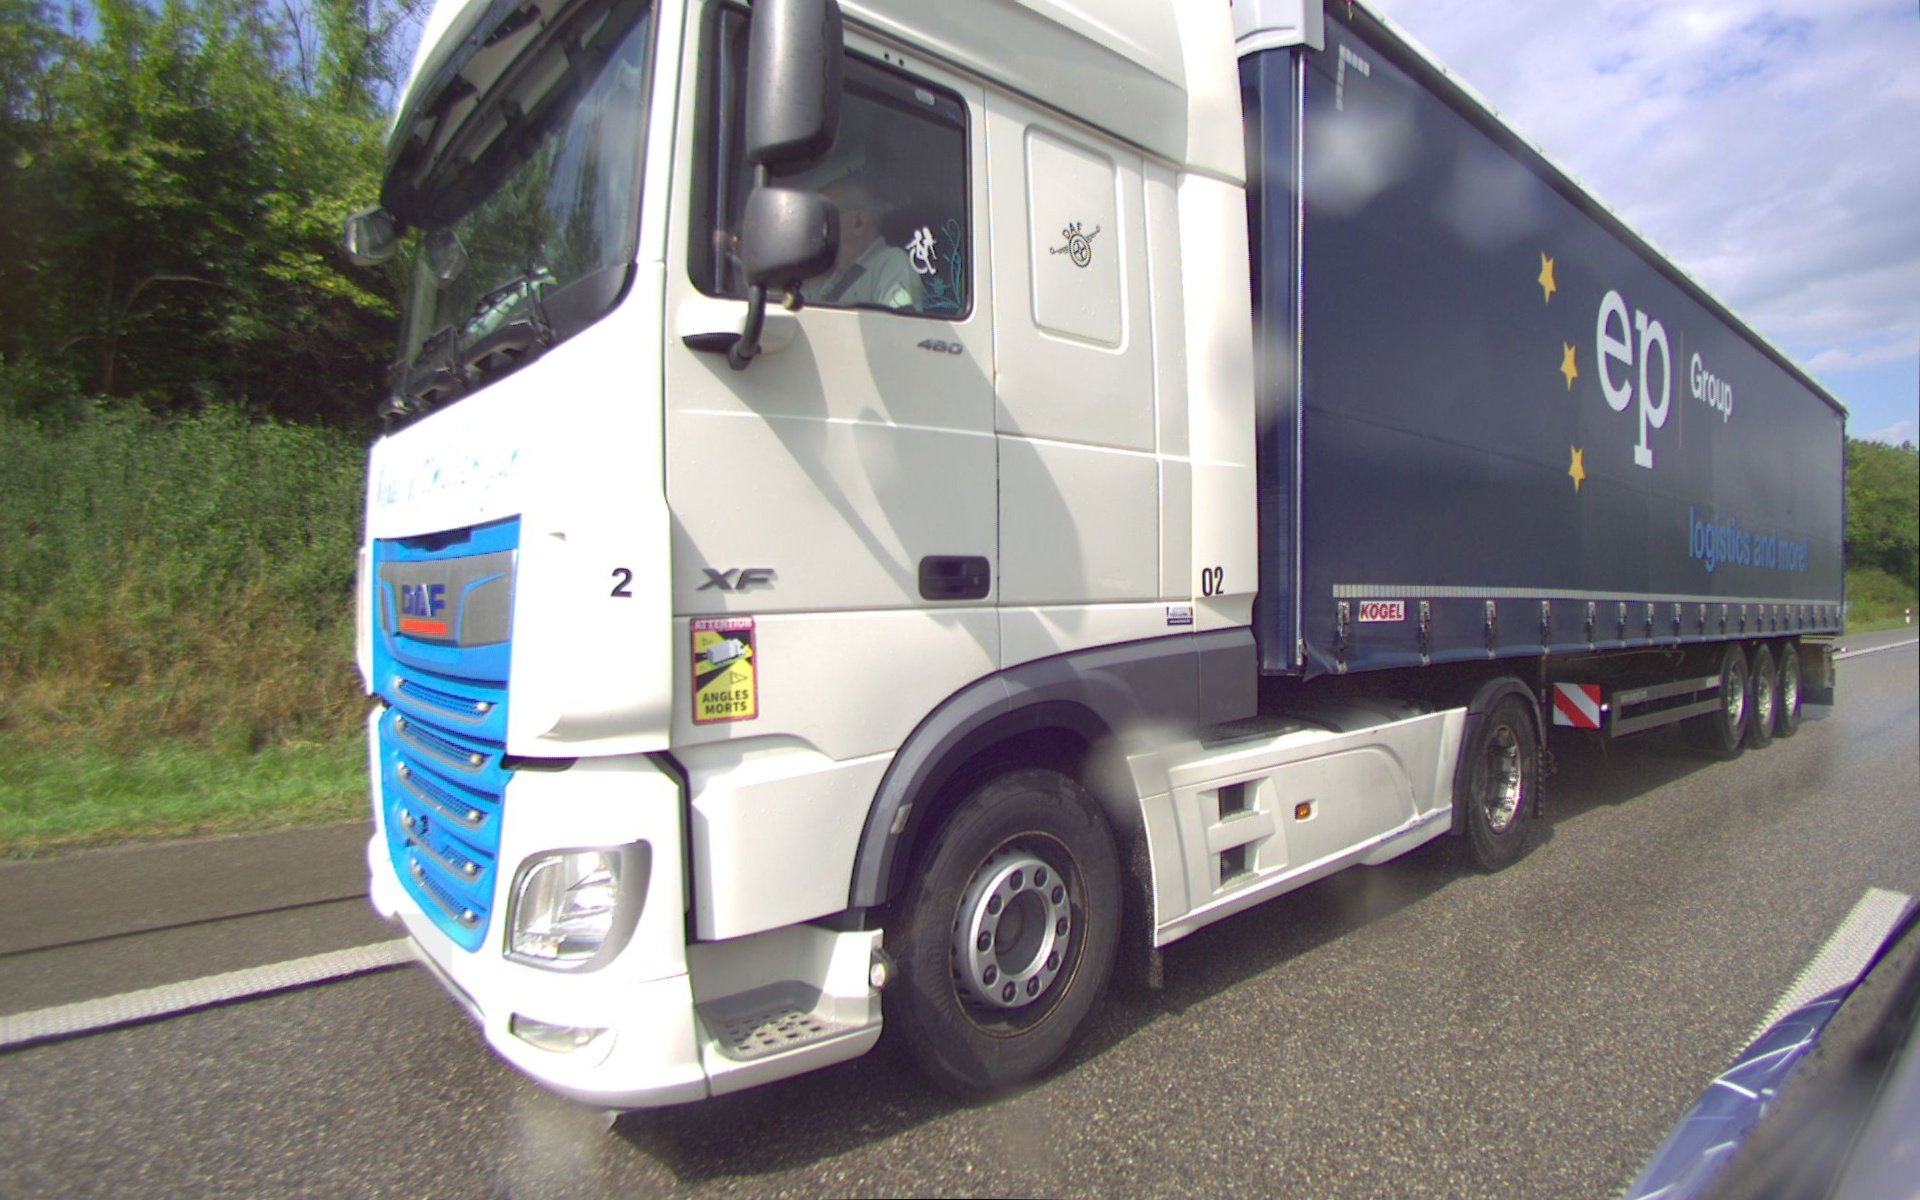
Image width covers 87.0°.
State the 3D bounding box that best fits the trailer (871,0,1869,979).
[{"bbox_3d":[5.539,-0.664,9.359,13.820,4.046,2.638,-1,0,-41],"label":"trailer"}]

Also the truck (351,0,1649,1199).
[{"bbox_3d":[1.087,-0.645,5.435,7.163,4.046,2.611,0,0,-41],"label":"truck"}]
